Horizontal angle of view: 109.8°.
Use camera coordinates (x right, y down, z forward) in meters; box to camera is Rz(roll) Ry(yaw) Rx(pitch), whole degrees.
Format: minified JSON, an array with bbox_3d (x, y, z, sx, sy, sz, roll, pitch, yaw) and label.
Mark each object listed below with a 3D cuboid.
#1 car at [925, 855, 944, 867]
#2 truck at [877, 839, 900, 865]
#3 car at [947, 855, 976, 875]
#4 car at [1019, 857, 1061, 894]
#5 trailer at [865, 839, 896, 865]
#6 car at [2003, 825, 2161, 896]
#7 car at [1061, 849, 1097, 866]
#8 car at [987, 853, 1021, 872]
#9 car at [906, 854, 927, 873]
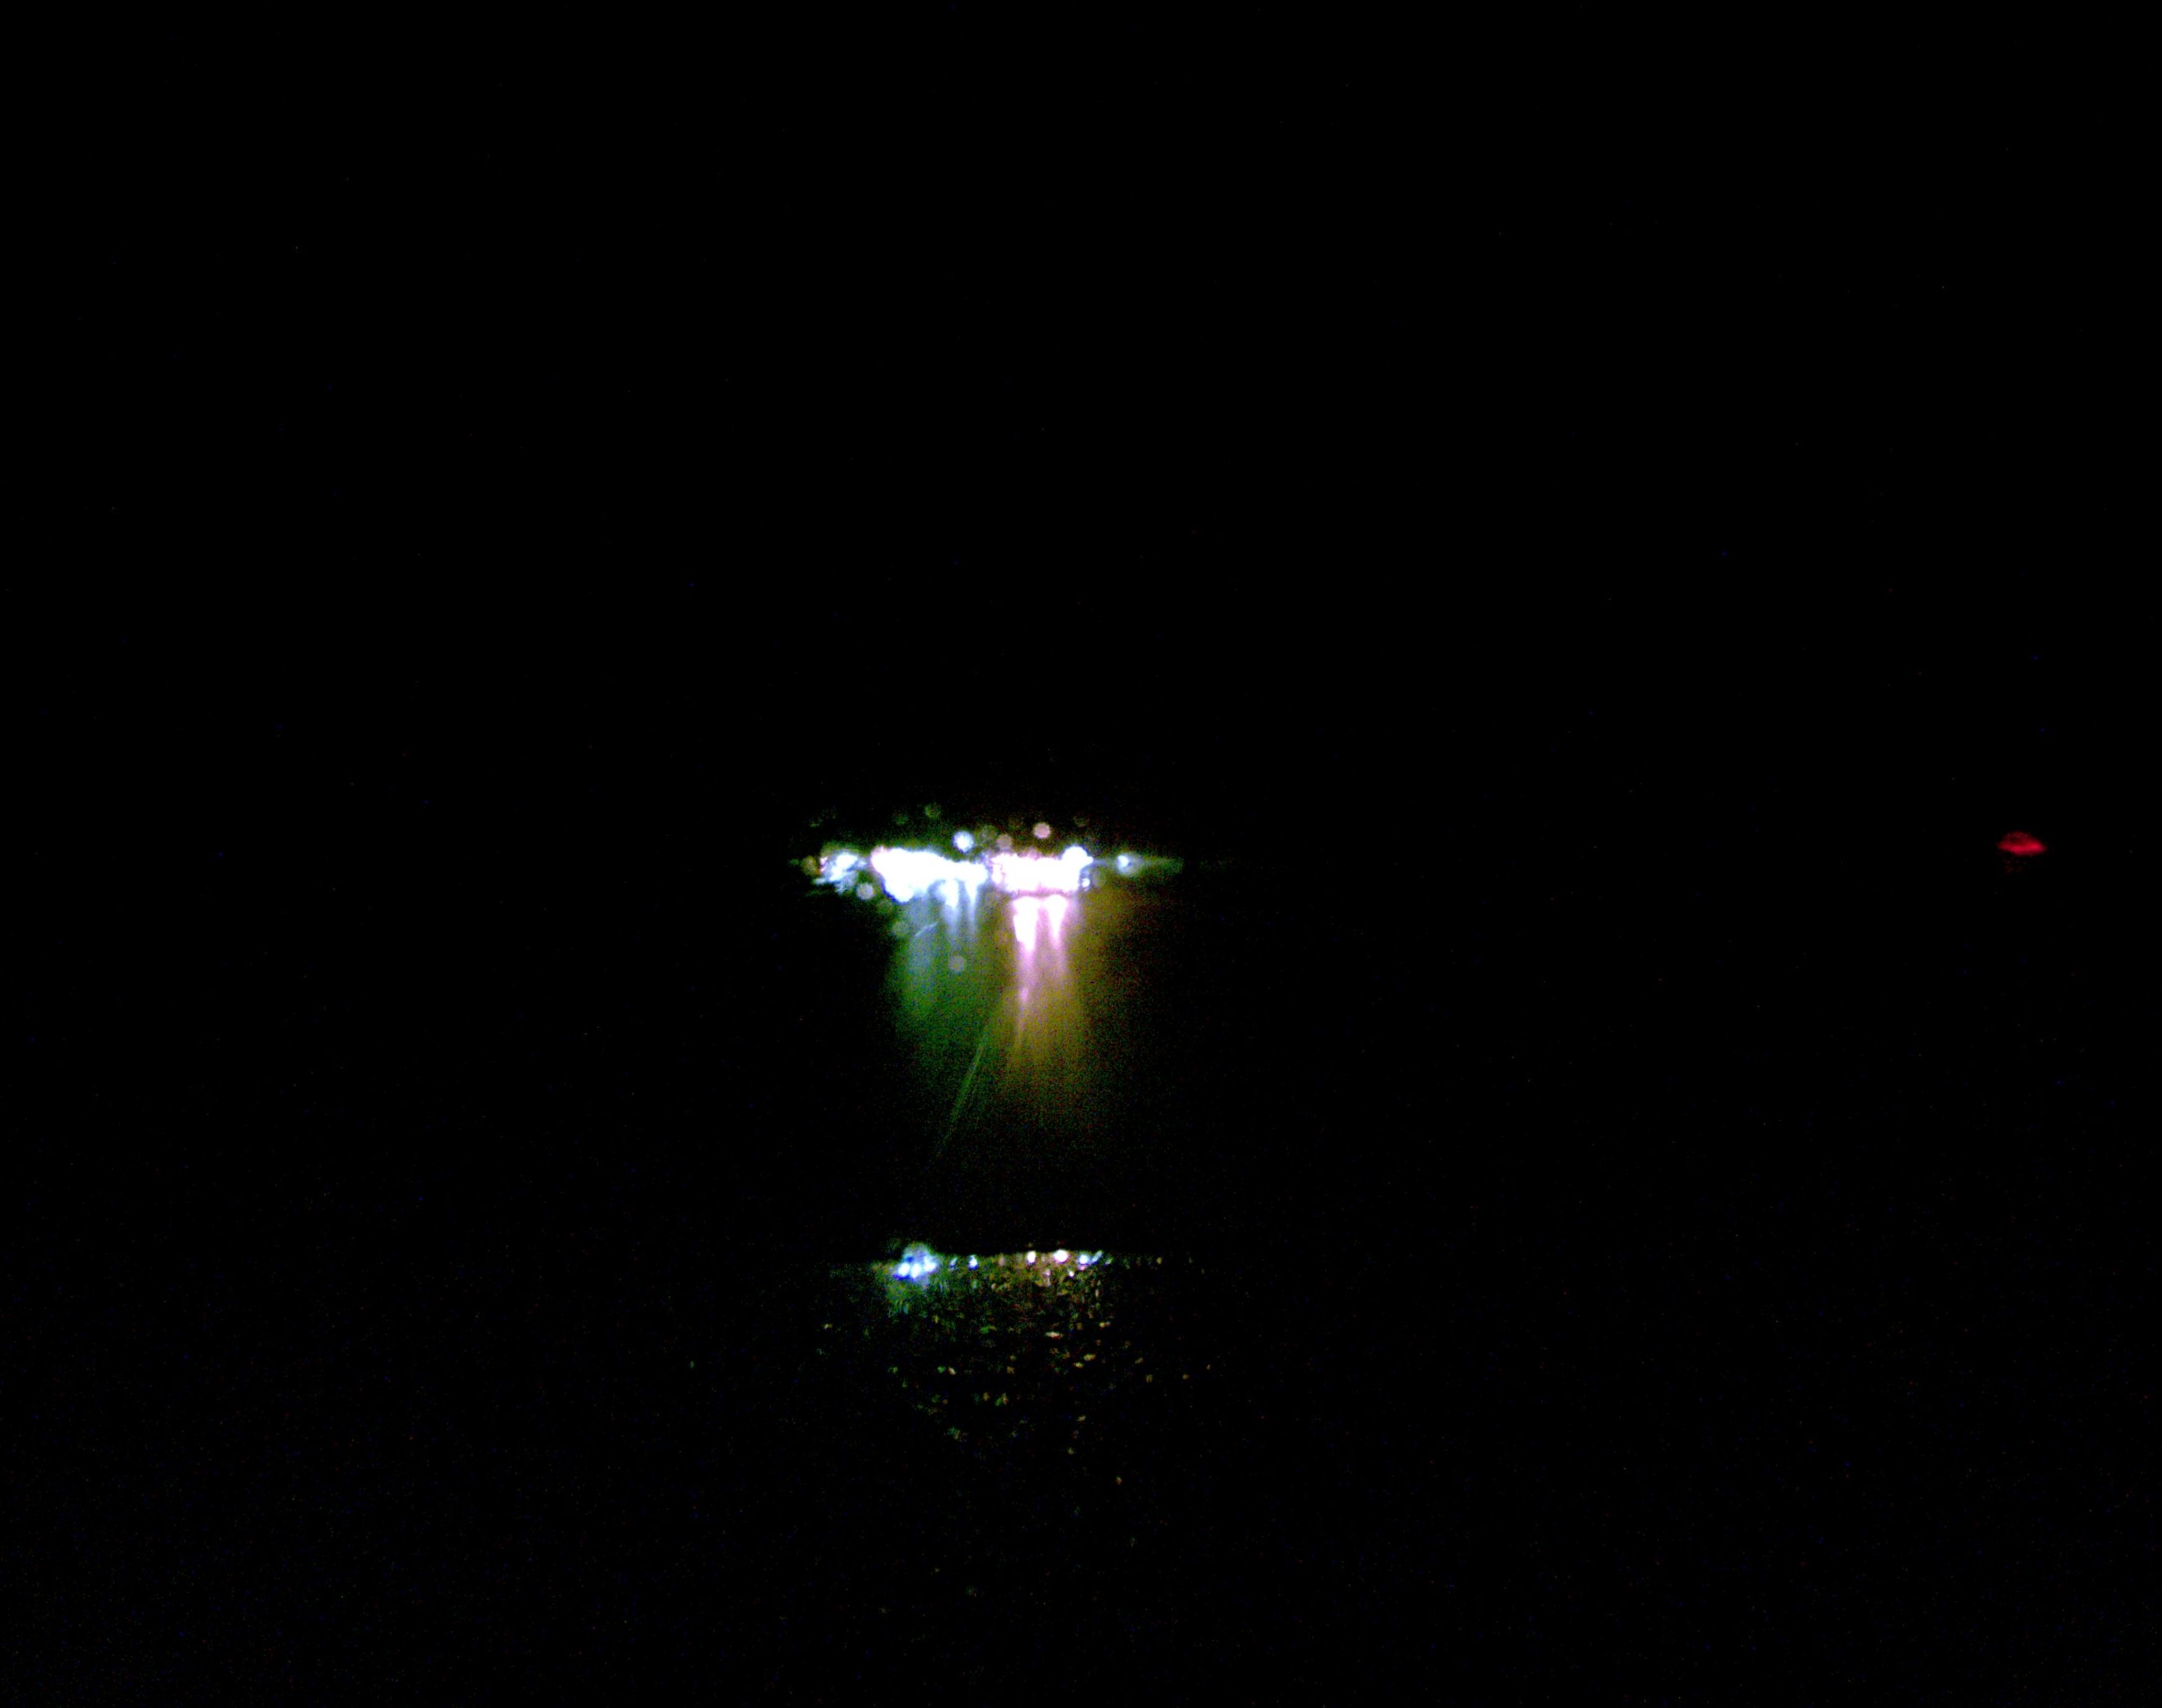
[{"bbox_3d":[-23.214,1.132,120.379,1.792,1.641,4.045,-3,-1,-26],"label":"car"},{"bbox_3d":[-33.641,-0.370,132.820,2.543,4.311,5.552,-3,1,-27],"label":"truck"},{"bbox_3d":[-8.816,0.784,55.931,1.762,1.304,4.081,-2,0,-13],"label":"car"},{"bbox_3d":[-1.858,0.902,33.434,1.687,1.442,3.640,-2,0,-4],"label":"car"},{"bbox_3d":[-36.731,-0.273,138.966,2.543,4.311,13.681,-3,1,-27],"label":"trailer"},{"bbox_3d":[24.916,0.130,17.196,1.768,1.473,4.855,-5,2,-24],"label":"car"},{"bbox_3d":[-0.223,0.320,72.257,1.892,1.532,4.102,-2,1,-25],"label":"car"},{"bbox_3d":[-6.997,0.776,68.609,1.734,1.473,4.033,-5,1,-25],"label":"car"},{"bbox_3d":[-15.890,0.898,73.339,1.743,1.674,4.115,-4,1,-14],"label":"car"}]
